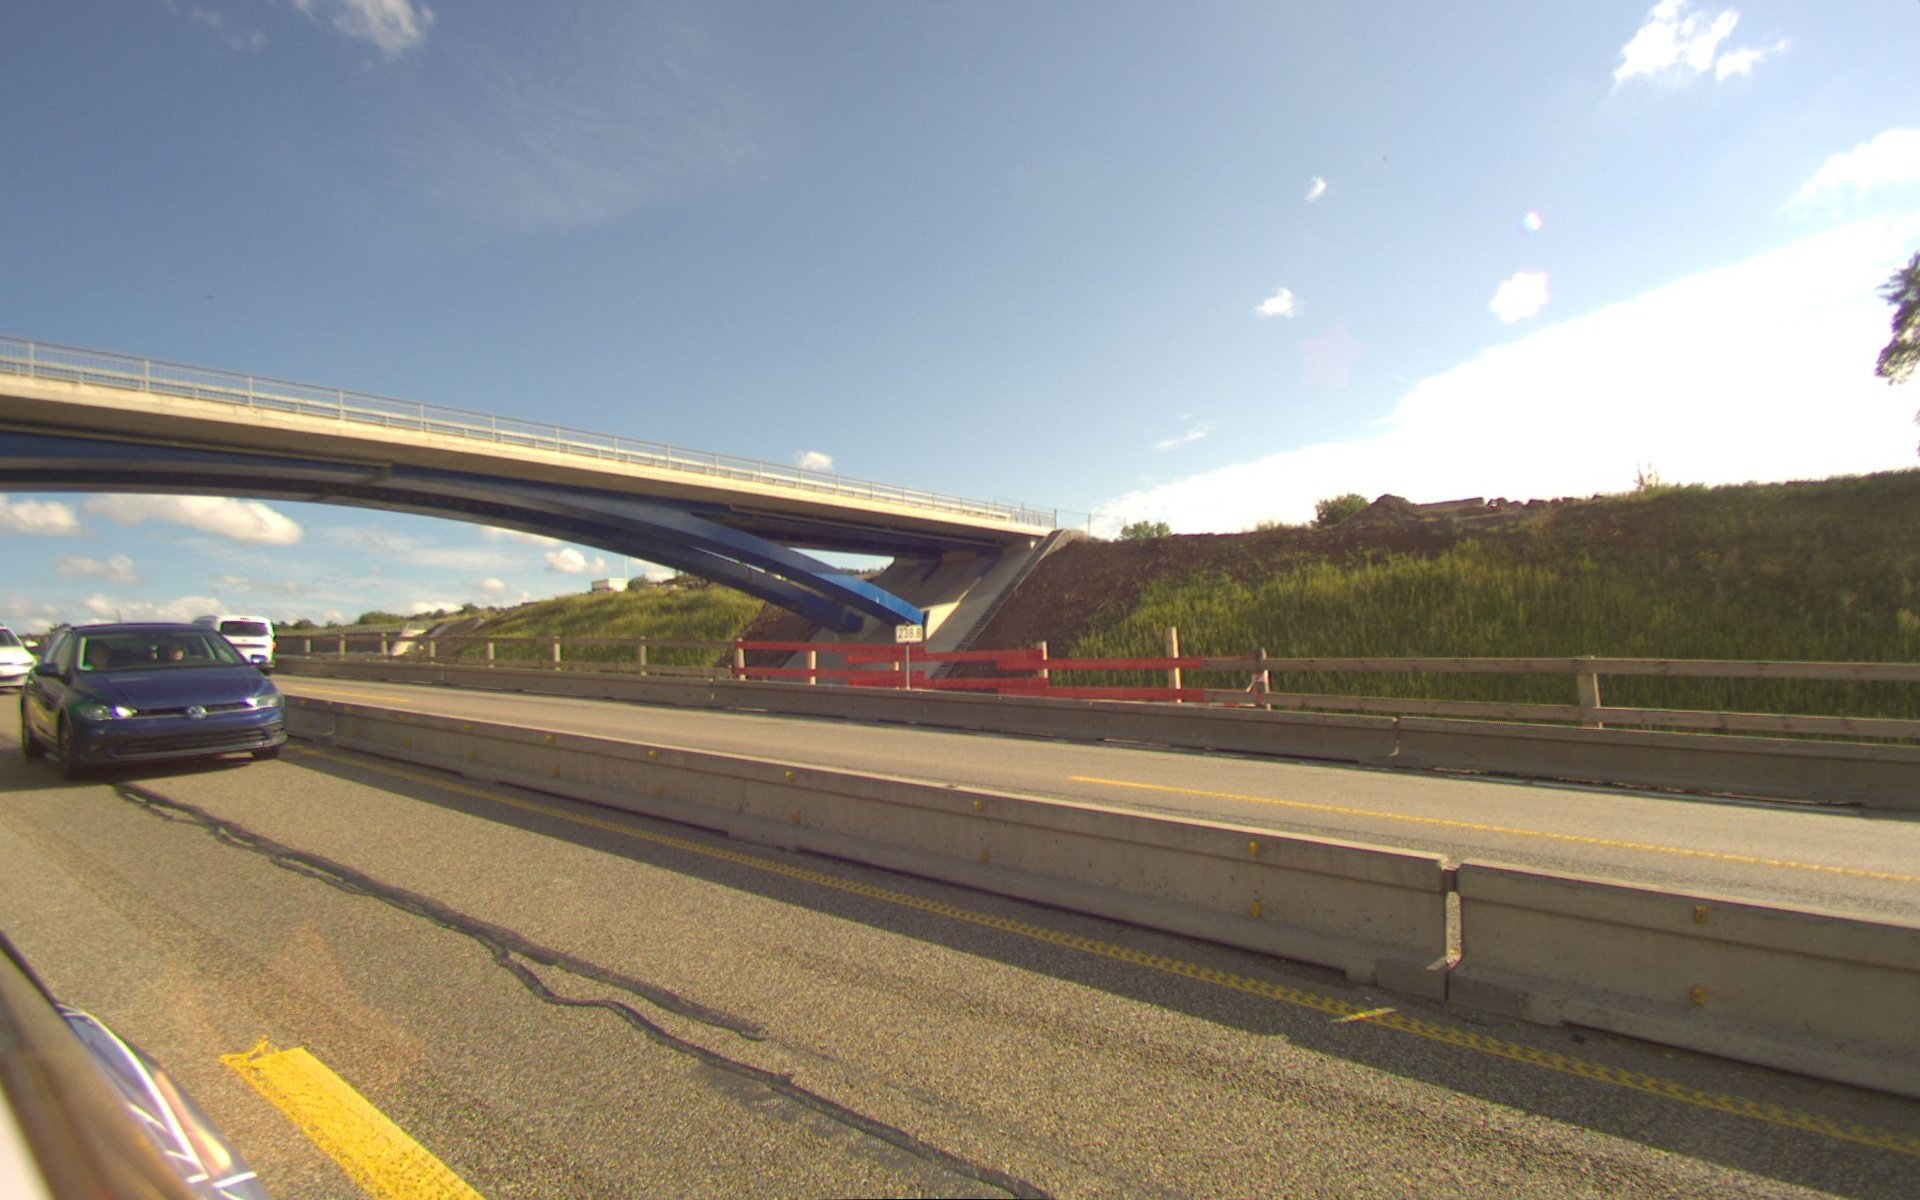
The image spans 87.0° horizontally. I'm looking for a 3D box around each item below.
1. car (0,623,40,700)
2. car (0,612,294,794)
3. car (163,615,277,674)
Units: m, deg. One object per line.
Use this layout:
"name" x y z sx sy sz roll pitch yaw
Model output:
"car" -20.914 1.272 21.306 4.372 1.507 1.802 -1 -1 41
"car" -8.579 0.919 10.560 3.998 1.519 1.697 -1 -1 41
"car" -22.327 1.354 30.482 4.213 1.672 1.716 -2 -5 39
